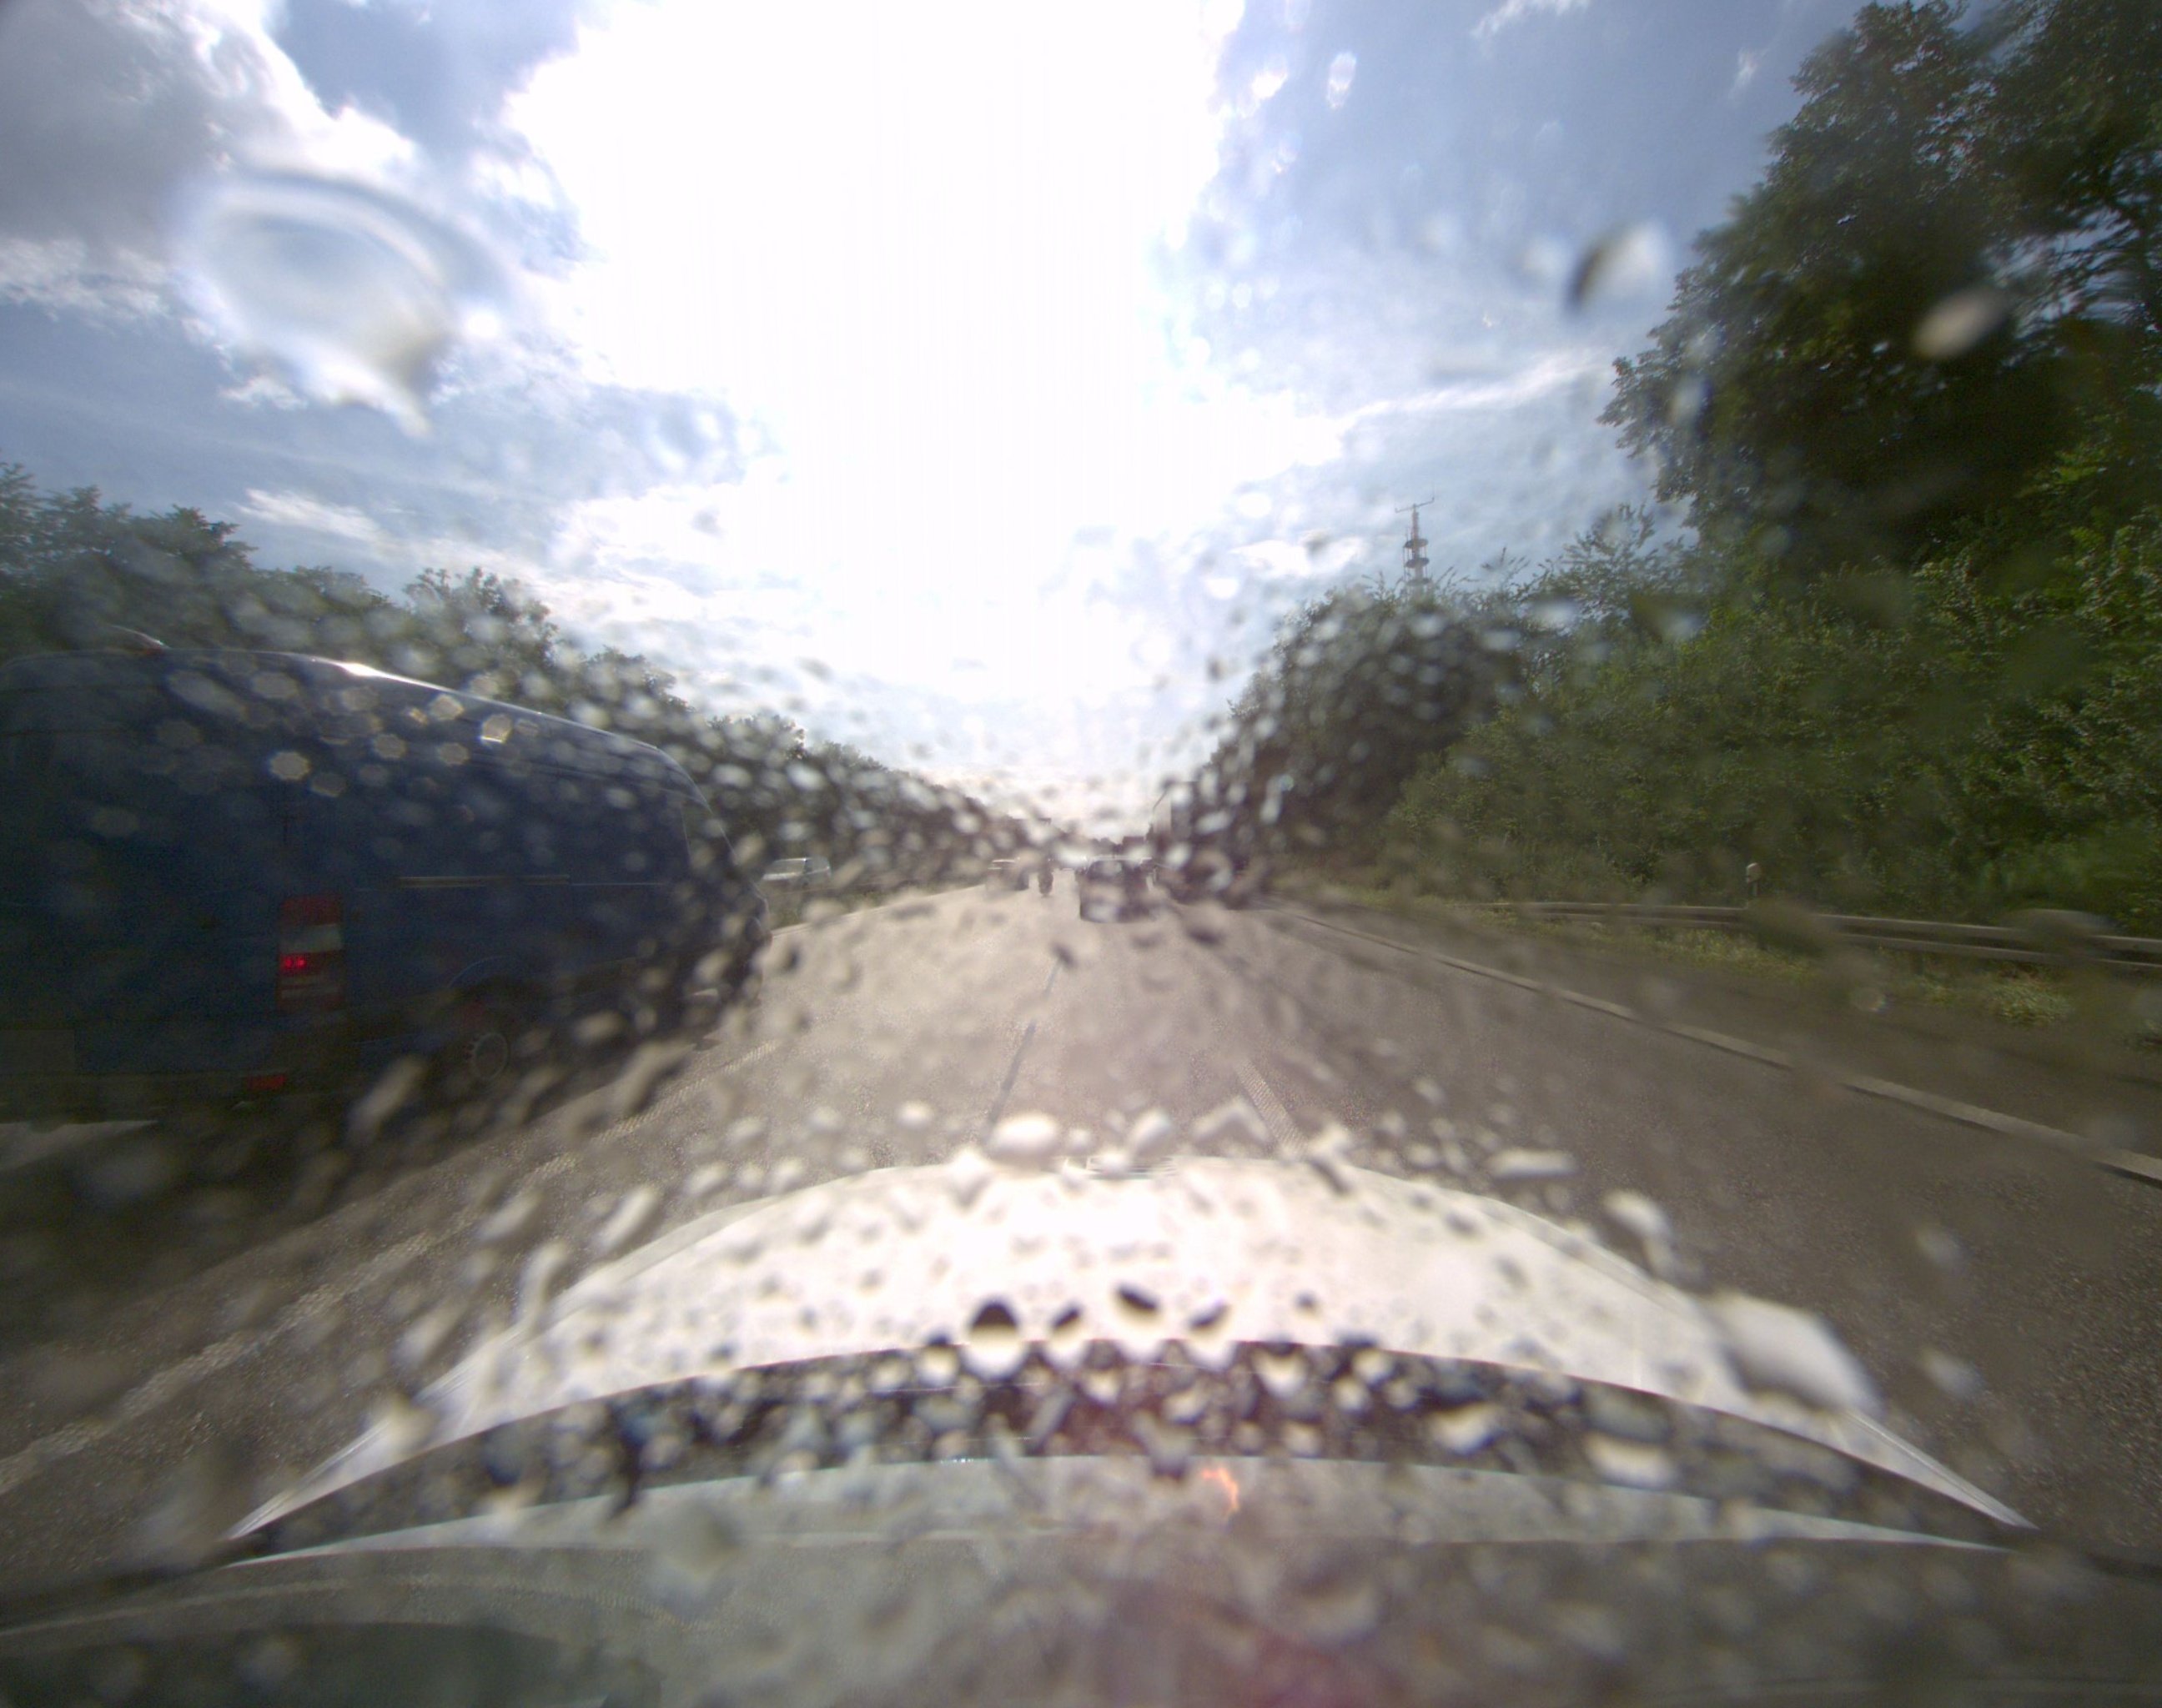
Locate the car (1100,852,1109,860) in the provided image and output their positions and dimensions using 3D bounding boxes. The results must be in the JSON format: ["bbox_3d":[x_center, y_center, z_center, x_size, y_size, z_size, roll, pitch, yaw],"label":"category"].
[{"bbox_3d":[4.323,0.407,149.619,1.626,1.490,3.437,-1,0,1],"label":"car"}]

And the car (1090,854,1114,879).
[{"bbox_3d":[1.739,1.030,68.230,1.986,2.014,4.000,-1,-1,1],"label":"car"}]

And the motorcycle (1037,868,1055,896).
[{"bbox_3d":[-1.410,1.118,32.838,0.674,1.087,1.980,0,0,-2],"label":"motorcycle"}]

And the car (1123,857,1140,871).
[{"bbox_3d":[5.561,1.082,89.789,1.669,1.490,3.437,-1,0,1],"label":"car"}]

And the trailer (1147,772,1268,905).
[{"bbox_3d":[4.729,-0.459,33.741,3.077,4.312,14.108,-1,0,1],"label":"trailer"}]

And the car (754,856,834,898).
[{"bbox_3d":[-13.512,1.033,38.636,1.986,1.834,4.621,1,0,2],"label":"car"}]

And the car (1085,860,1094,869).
[{"bbox_3d":[1.891,2.384,183.539,1.986,2.014,4.001,-1,-1,1],"label":"car"}]

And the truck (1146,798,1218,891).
[{"bbox_3d":[4.955,-0.430,40.962,3.040,4.325,5.889,-1,0,2],"label":"truck"}]

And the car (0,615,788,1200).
[{"bbox_3d":[-4.502,0.261,6.606,2.008,2.648,5.778,-1,0,1],"label":"car"}]

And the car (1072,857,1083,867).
[{"bbox_3d":[-0.539,1.339,131.611,1.669,1.597,3.437,-1,0,1],"label":"car"}]

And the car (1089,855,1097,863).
[{"bbox_3d":[2.970,1.277,201.645,1.986,2.014,4.001,-1,-1,1],"label":"car"}]

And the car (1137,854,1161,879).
[{"bbox_3d":[5.896,1.080,70.713,1.842,2.014,4.089,-1,-1,2],"label":"car"}]

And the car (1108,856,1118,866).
[{"bbox_3d":[6.587,1.365,165.901,1.986,2.014,4.001,-1,-1,2],"label":"car"}]

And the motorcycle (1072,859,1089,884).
[{"bbox_3d":[-0.027,0.923,43.909,0.816,1.263,2.118,-1,0,2],"label":"motorcycle"}]

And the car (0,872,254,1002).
[{"bbox_3d":[-17.501,1.345,14.077,1.917,1.911,4.290,-2,0,2],"label":"car"}]

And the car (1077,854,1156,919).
[{"bbox_3d":[0.929,0.809,22.064,1.908,1.565,4.315,-1,0,1],"label":"car"}]

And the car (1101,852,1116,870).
[{"bbox_3d":[3.132,0.803,92.903,1.669,1.936,3.774,-1,0,1],"label":"car"}]

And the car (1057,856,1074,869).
[{"bbox_3d":[-1.877,1.038,100.571,1.886,1.628,4.196,-1,0,1],"label":"car"}]

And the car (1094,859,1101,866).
[{"bbox_3d":[4.584,2.325,222.178,1.986,2.014,4.001,-1,-1,1],"label":"car"}]

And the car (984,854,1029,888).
[{"bbox_3d":[-3.674,0.805,40.778,1.752,1.595,4.331,-1,0,1],"label":"car"}]

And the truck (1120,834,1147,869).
[{"bbox_3d":[6.860,-0.255,107.936,3.190,4.404,9.436,-1,0,2],"label":"truck"}]

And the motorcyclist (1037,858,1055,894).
[{"bbox_3d":[-1.413,0.882,32.805,0.669,1.442,1.019,-1,-1,-2],"label":"motorcyclist"}]

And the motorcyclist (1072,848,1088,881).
[{"bbox_3d":[-0.037,0.573,43.868,0.818,1.761,1.391,-1,-1,2],"label":"motorcyclist"}]

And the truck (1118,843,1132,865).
[{"bbox_3d":[9.929,0.045,183.837,2.871,4.687,12.662,-1,-1,2],"label":"truck"}]
